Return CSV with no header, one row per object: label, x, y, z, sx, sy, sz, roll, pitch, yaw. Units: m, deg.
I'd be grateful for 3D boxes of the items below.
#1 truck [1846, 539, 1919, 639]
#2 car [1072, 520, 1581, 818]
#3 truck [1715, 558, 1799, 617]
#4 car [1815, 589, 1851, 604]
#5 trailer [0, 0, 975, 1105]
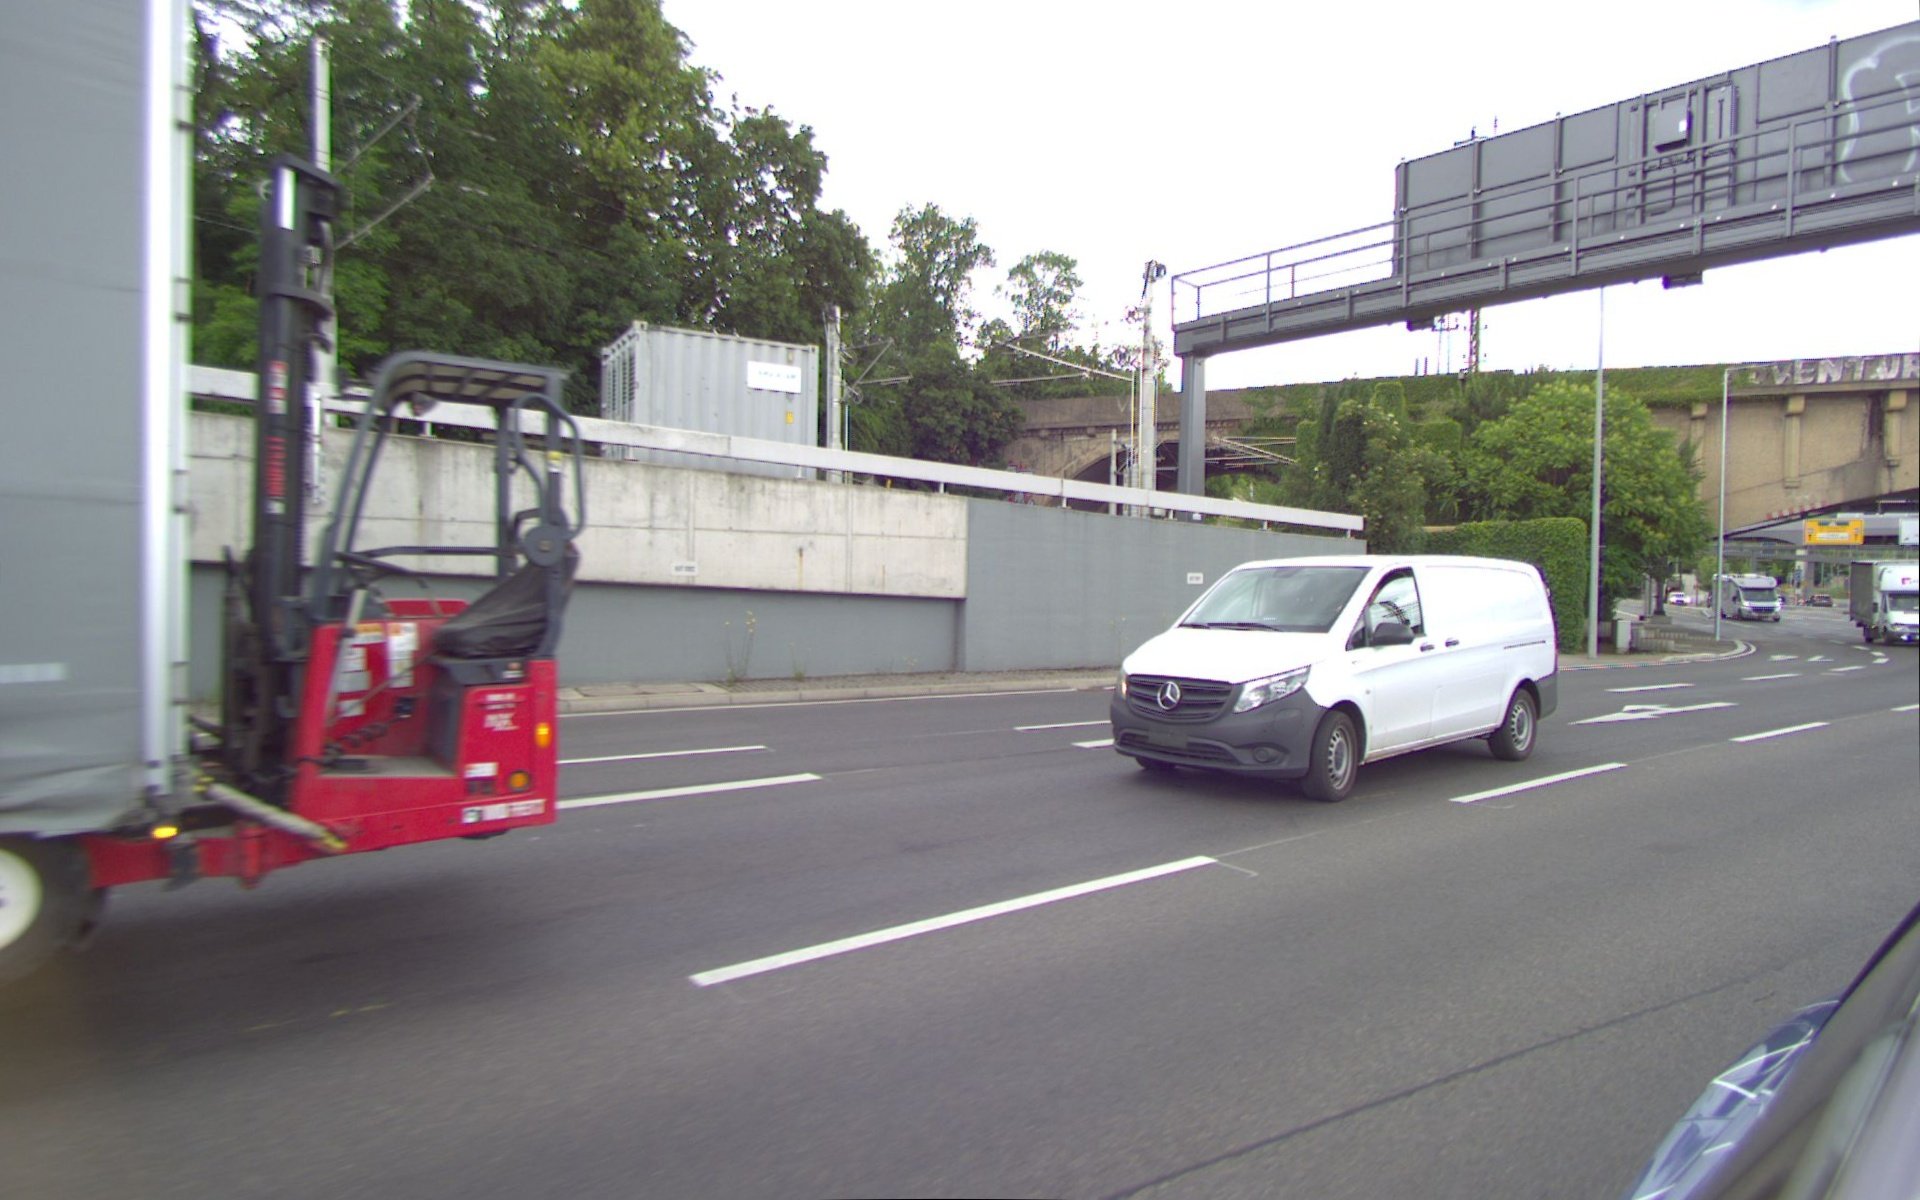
truck,37.906,-0.458,40.084,3.014,3.633,8.839,-3,-1,34
car,3.538,0.441,9.216,5.105,2.015,1.998,0,0,-38
truck,52.207,-0.835,66.510,2.550,3.613,9.030,0,1,27
car,92.176,-0.378,106.874,1.805,1.556,4.360,0,0,27
trailer,-5.262,-0.680,3.159,10.785,4.194,3.733,0,0,-39
